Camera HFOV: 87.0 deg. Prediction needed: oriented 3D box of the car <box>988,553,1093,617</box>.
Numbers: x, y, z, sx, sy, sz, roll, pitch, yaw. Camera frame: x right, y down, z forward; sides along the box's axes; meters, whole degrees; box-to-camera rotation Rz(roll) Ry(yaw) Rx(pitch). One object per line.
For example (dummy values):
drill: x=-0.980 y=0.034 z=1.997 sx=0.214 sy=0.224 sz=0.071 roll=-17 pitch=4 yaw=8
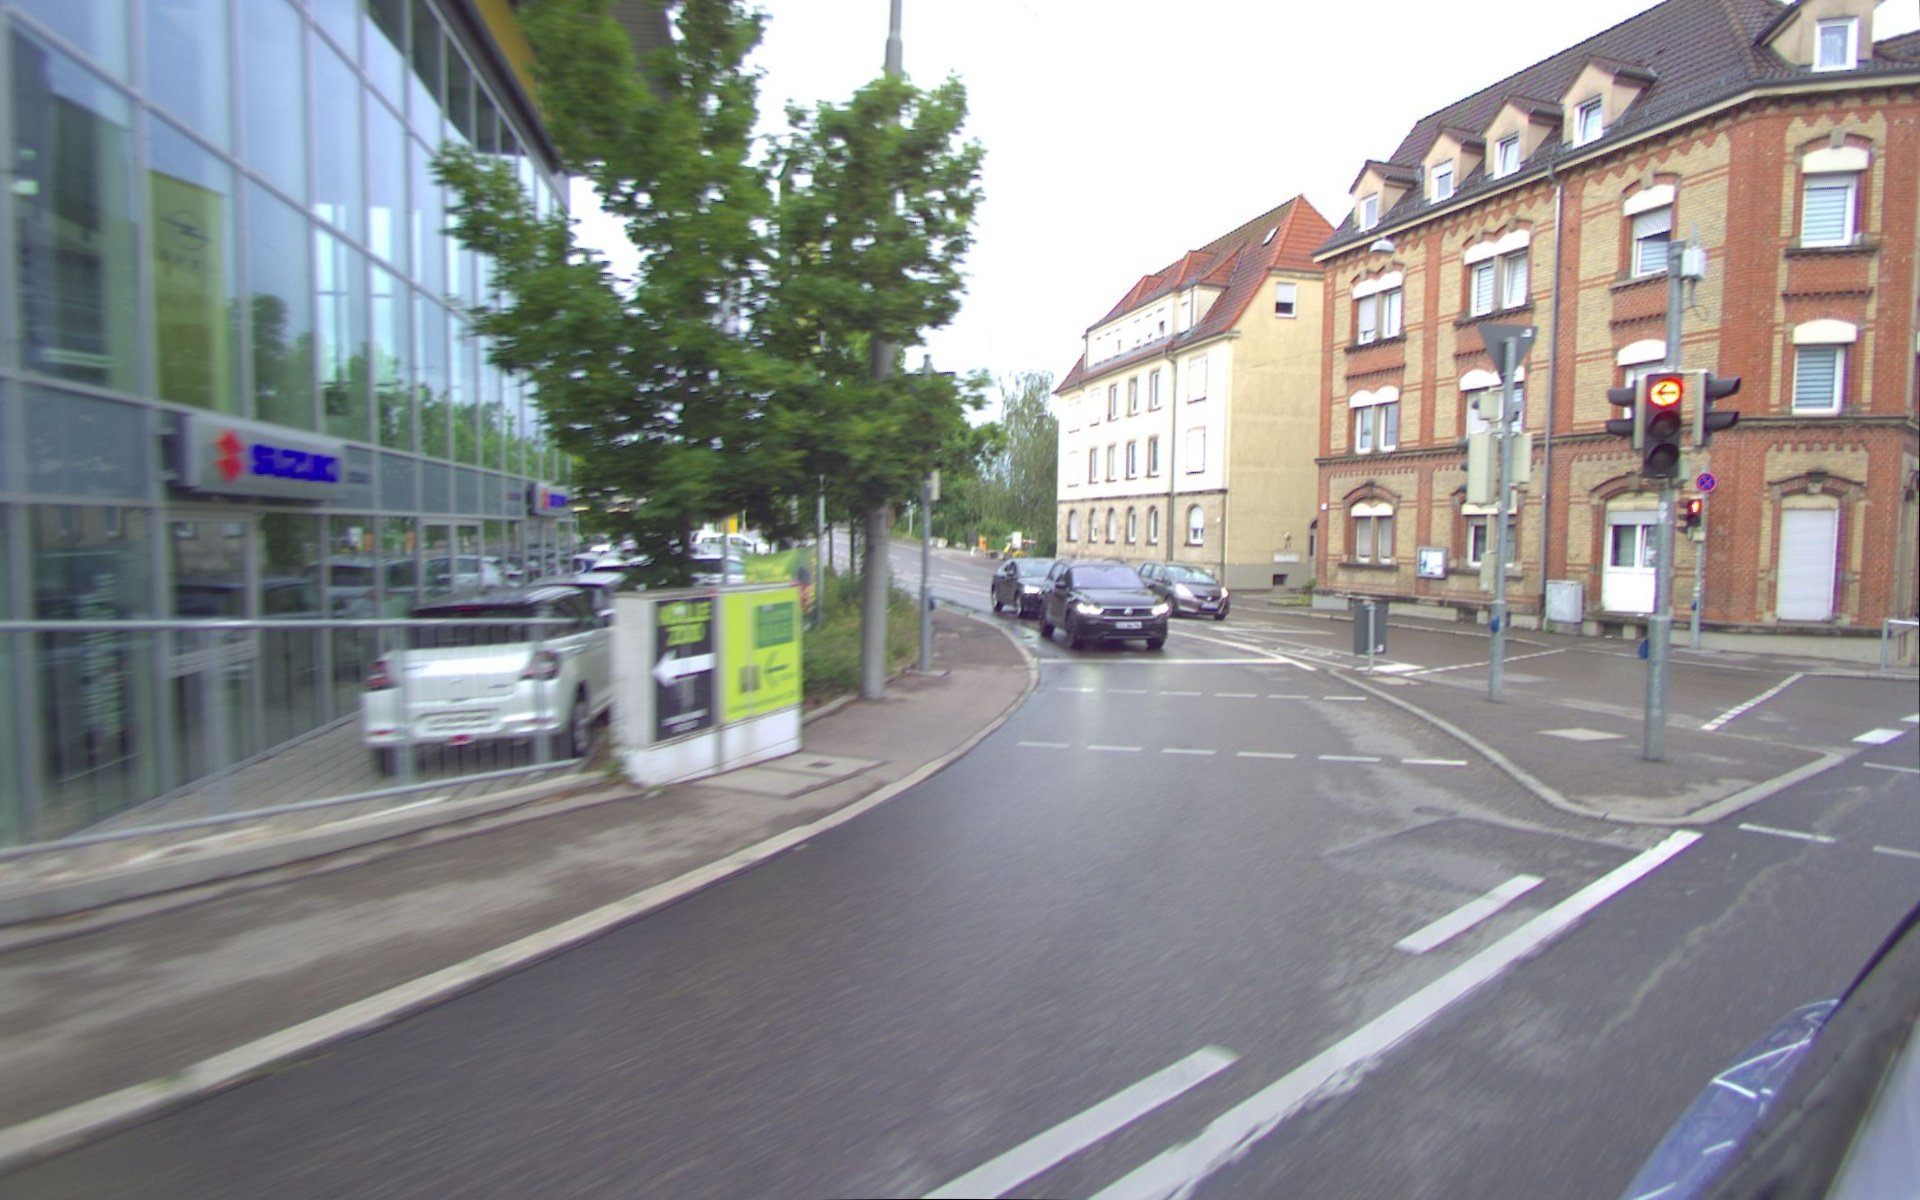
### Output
car: x=2.086 y=-0.460 z=27.543 sx=1.767 sy=1.523 sz=4.265 roll=1 pitch=3 yaw=-10

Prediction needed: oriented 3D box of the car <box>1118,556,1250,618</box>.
car: x=6.242 y=-0.430 z=28.686 sx=1.805 sy=1.471 sz=4.011 roll=3 pitch=3 yaw=-18

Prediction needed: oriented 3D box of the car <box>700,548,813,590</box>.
car: x=-7.405 y=-1.156 z=36.926 sx=3.916 sy=1.323 sz=1.728 roll=2 pitch=2 yaw=-11

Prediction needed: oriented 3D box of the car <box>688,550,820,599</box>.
car: x=-6.445 y=-0.809 z=31.843 sx=3.916 sy=1.323 sz=1.728 roll=2 pitch=2 yaw=-11

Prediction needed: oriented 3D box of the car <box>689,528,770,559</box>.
car: x=-12.752 y=-3.133 z=56.180 sx=4.286 sy=1.508 sz=1.728 roll=2 pitch=2 yaw=-11

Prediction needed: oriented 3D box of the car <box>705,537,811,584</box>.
car: x=-7.865 y=-1.552 z=39.502 sx=3.916 sy=1.615 sz=1.728 roll=2 pitch=2 yaw=-11

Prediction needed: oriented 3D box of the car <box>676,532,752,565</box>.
car: x=-12.813 y=-2.687 z=52.816 sx=3.734 sy=1.508 sz=1.728 roll=2 pitch=2 yaw=-11

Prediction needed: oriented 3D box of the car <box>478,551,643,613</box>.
car: x=-10.374 y=-0.499 z=26.268 sx=3.960 sy=1.471 sz=1.809 roll=2 pitch=1 yaw=26

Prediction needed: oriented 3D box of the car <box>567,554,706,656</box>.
car: x=-5.823 y=-0.005 z=18.649 sx=1.788 sy=1.611 sz=4.008 roll=0 pitch=3 yaw=-8

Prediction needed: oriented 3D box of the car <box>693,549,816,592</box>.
car: x=-6.949 y=-1.015 z=34.331 sx=3.916 sy=1.265 sz=1.728 roll=2 pitch=2 yaw=-11

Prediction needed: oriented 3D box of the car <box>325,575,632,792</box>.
car: x=-4.438 y=0.602 z=10.030 sx=1.859 sy=1.526 sz=4.010 roll=-2 pitch=3 yaw=-13

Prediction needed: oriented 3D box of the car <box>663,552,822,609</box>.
car: x=-5.709 y=-0.524 z=26.729 sx=3.916 sy=1.288 sz=1.728 roll=2 pitch=2 yaw=-11

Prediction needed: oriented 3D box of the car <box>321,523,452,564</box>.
car: x=-21.840 y=-2.143 z=38.688 sx=3.916 sy=1.323 sz=1.918 roll=2 pitch=2 yaw=-11

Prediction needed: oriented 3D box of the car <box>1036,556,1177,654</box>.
car: x=2.789 y=-0.002 z=20.281 sx=1.768 sy=1.683 sz=4.262 roll=2 pitch=3 yaw=-6

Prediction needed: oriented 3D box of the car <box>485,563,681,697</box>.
car: x=-5.158 y=0.296 z=14.384 sx=1.788 sy=1.548 sz=4.008 roll=0 pitch=3 yaw=-8
